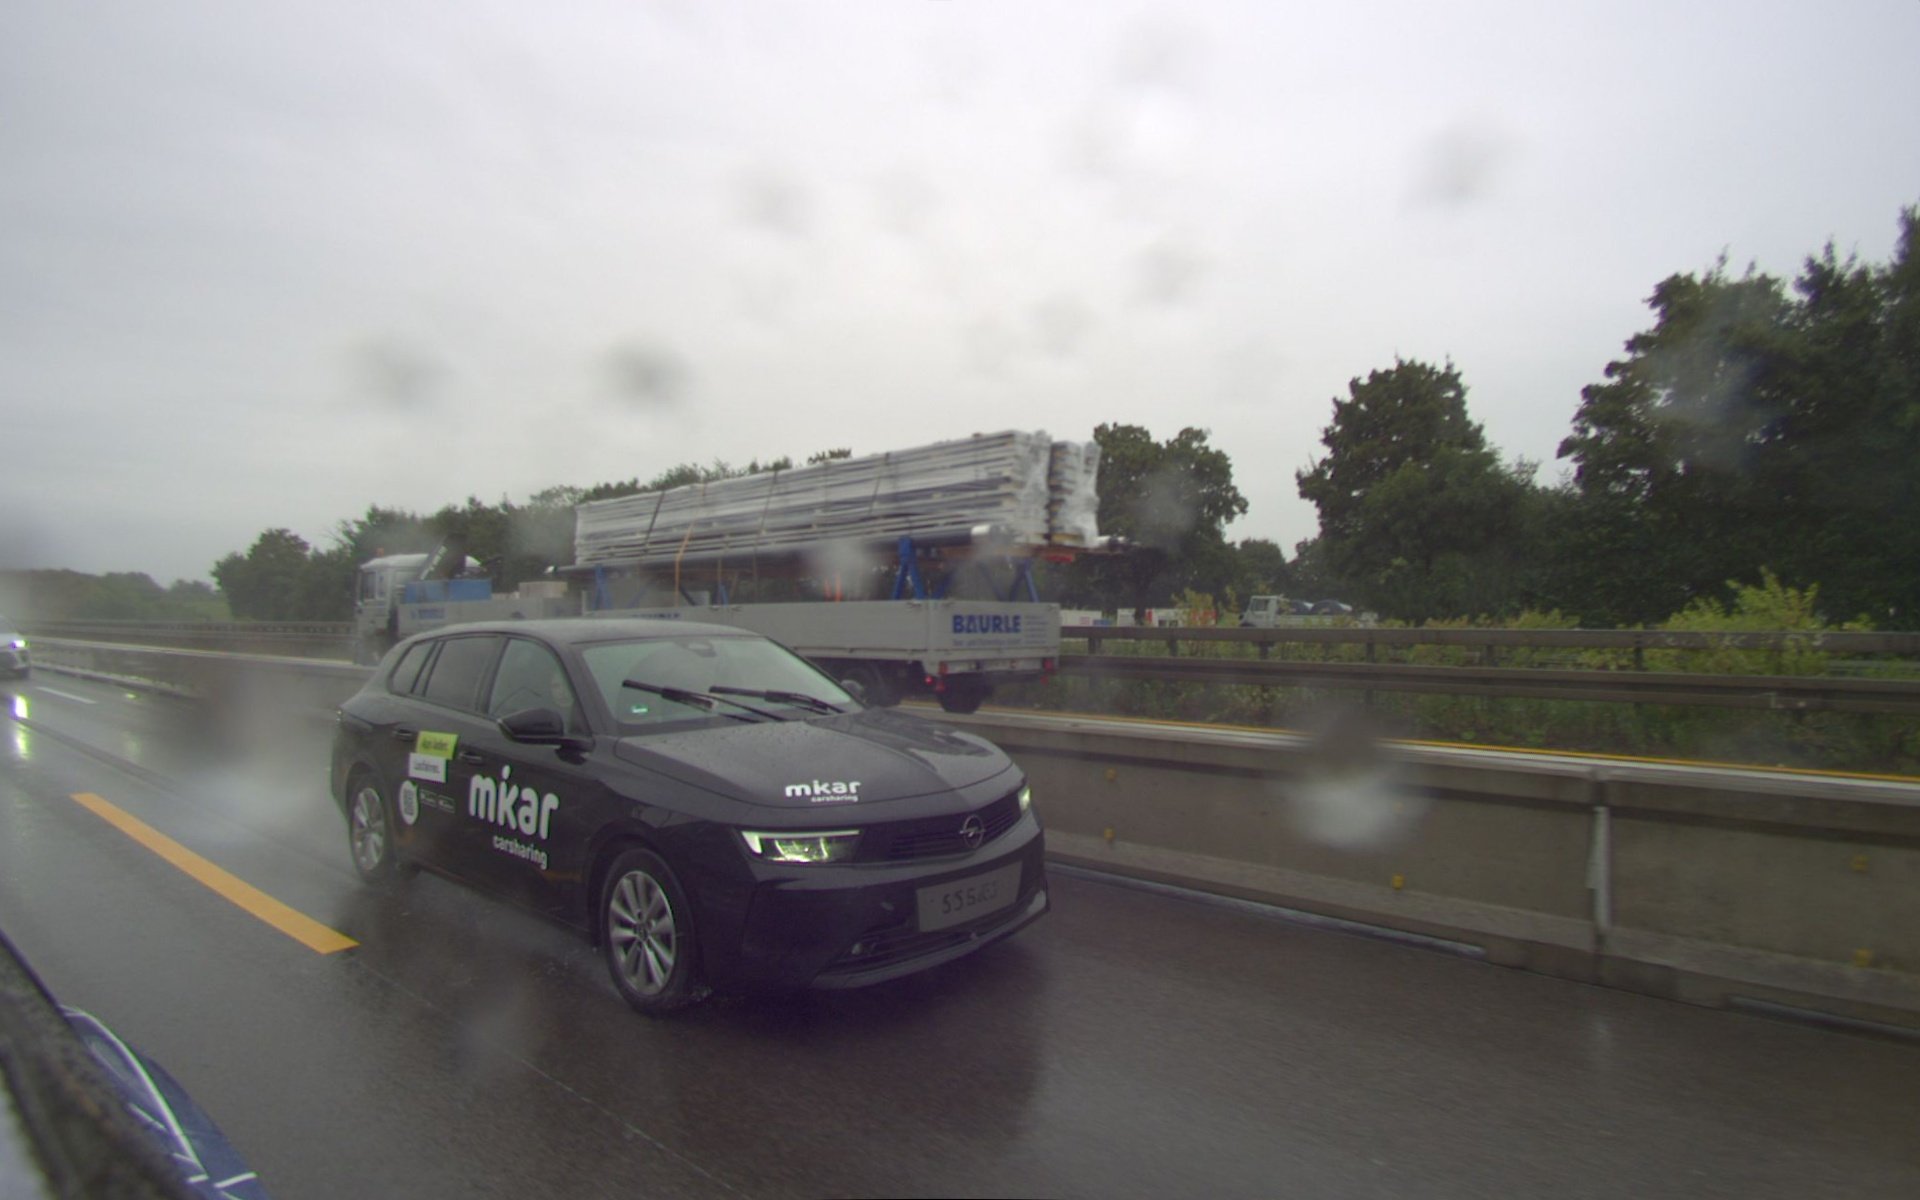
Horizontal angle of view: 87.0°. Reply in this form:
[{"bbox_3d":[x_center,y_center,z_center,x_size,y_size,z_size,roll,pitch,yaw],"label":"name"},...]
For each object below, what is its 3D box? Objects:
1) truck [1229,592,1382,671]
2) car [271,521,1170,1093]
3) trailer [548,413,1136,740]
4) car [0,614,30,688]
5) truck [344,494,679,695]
[{"bbox_3d":[15.225,1.263,44.824,5.869,3.237,2.584,1,1,44],"label":"truck"},{"bbox_3d":[-1.568,0.595,5.033,4.793,1.539,1.919,-1,-1,41],"label":"car"},{"bbox_3d":[-2.364,-0.175,14.692,9.709,3.388,2.634,-1,0,41],"label":"trailer"},{"bbox_3d":[-24.670,1.228,24.934,3.994,1.693,1.948,1,1,38],"label":"car"},{"bbox_3d":[-9.720,-0.029,21.110,9.548,3.373,2.612,-1,0,41],"label":"truck"}]
